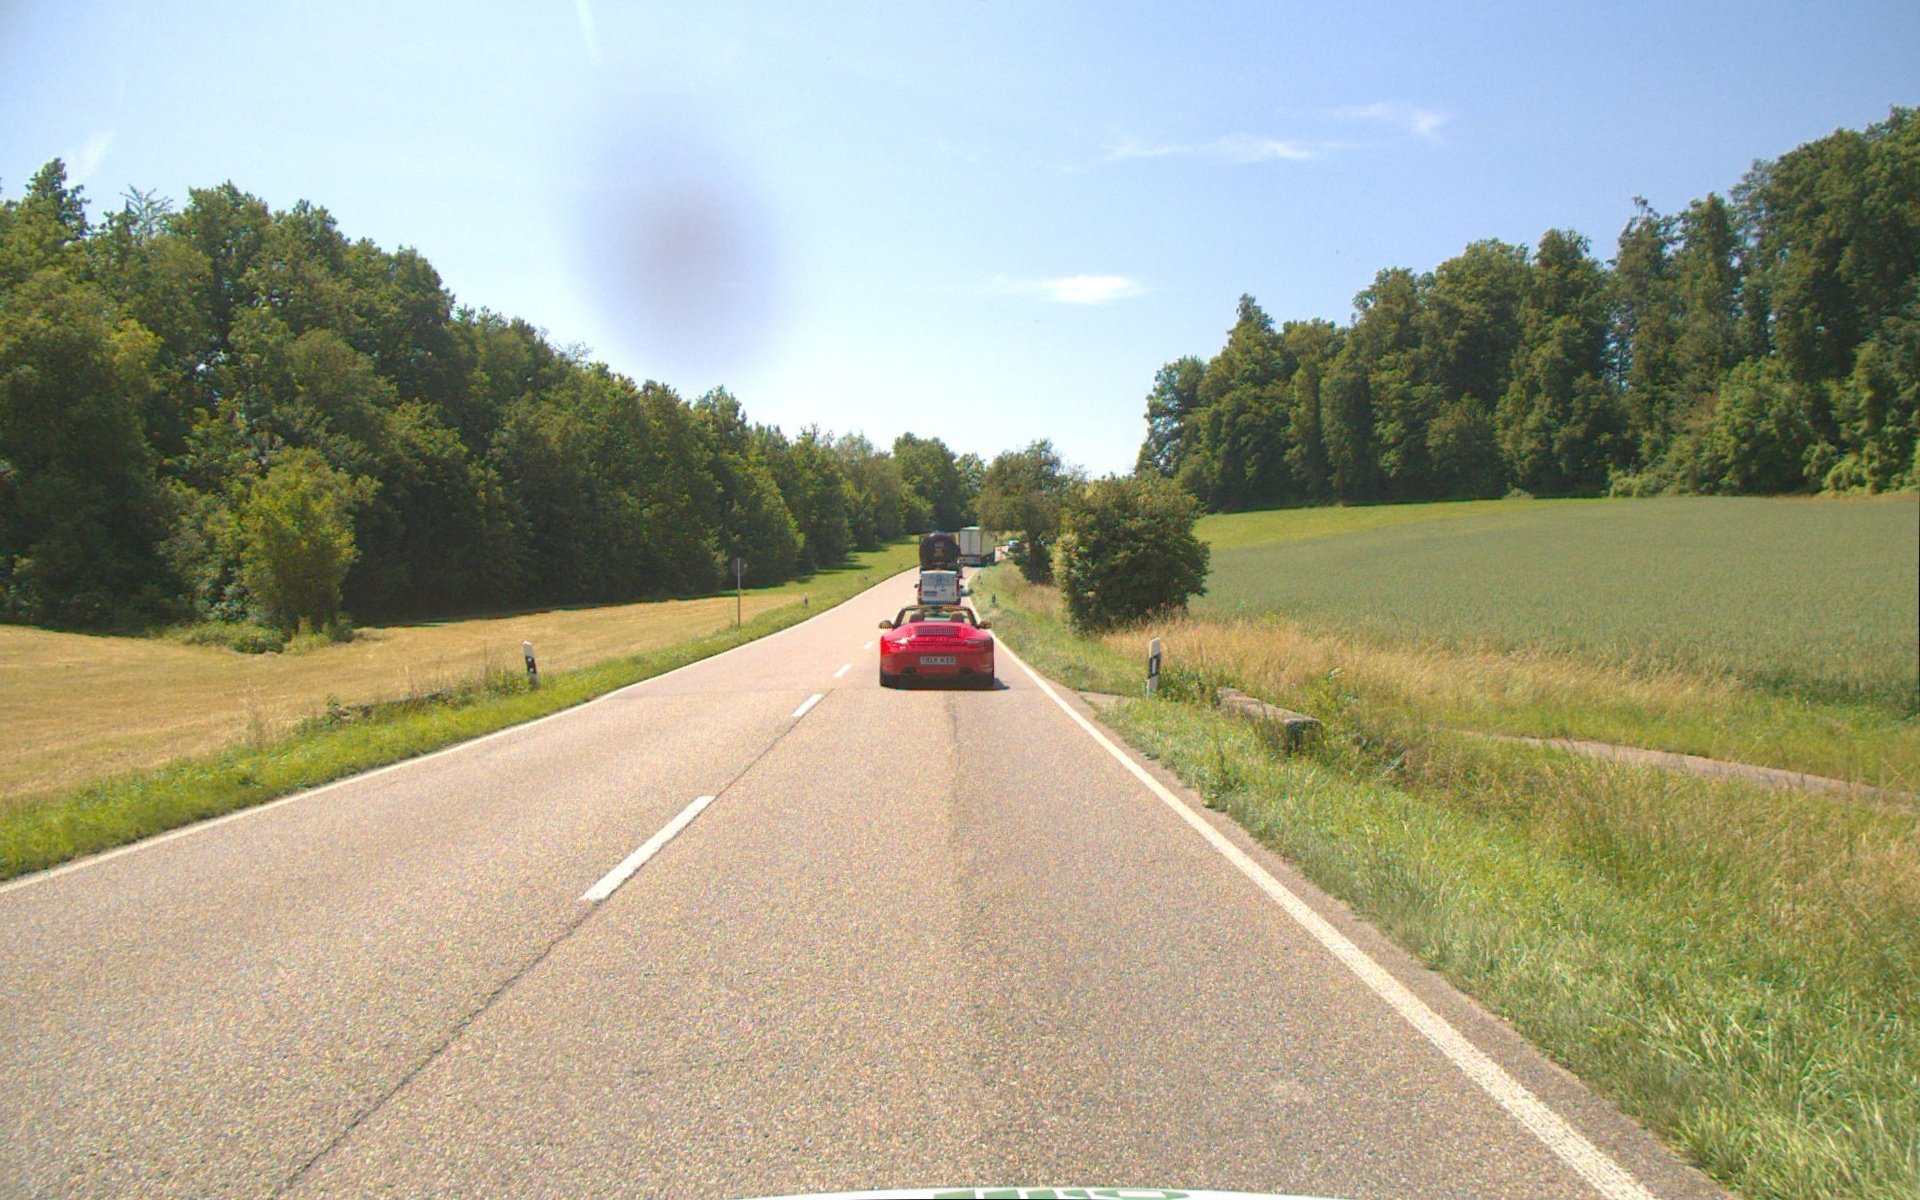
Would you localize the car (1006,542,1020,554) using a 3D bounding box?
[{"bbox_3d":[7.140,-7.099,223.939,1.663,1.522,3.712,-3,2,0],"label":"car"}]

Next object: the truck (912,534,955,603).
[{"bbox_3d":[-1.644,-2.163,108.333,2.355,4.119,12.553,-3,2,0],"label":"truck"}]

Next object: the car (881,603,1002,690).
[{"bbox_3d":[-0.309,0.719,27.291,1.844,1.277,4.009,0,1,-1],"label":"car"}]

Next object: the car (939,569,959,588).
[{"bbox_3d":[-0.973,-1.924,149.824,1.793,1.539,4.192,-2,3,0],"label":"car"}]

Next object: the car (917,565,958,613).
[{"bbox_3d":[-0.969,-0.498,71.561,1.644,1.933,4.009,-2,2,-1],"label":"car"}]

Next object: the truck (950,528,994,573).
[{"bbox_3d":[1.443,-5.663,187.210,3.646,4.740,12.045,0,4,7],"label":"truck"}]
